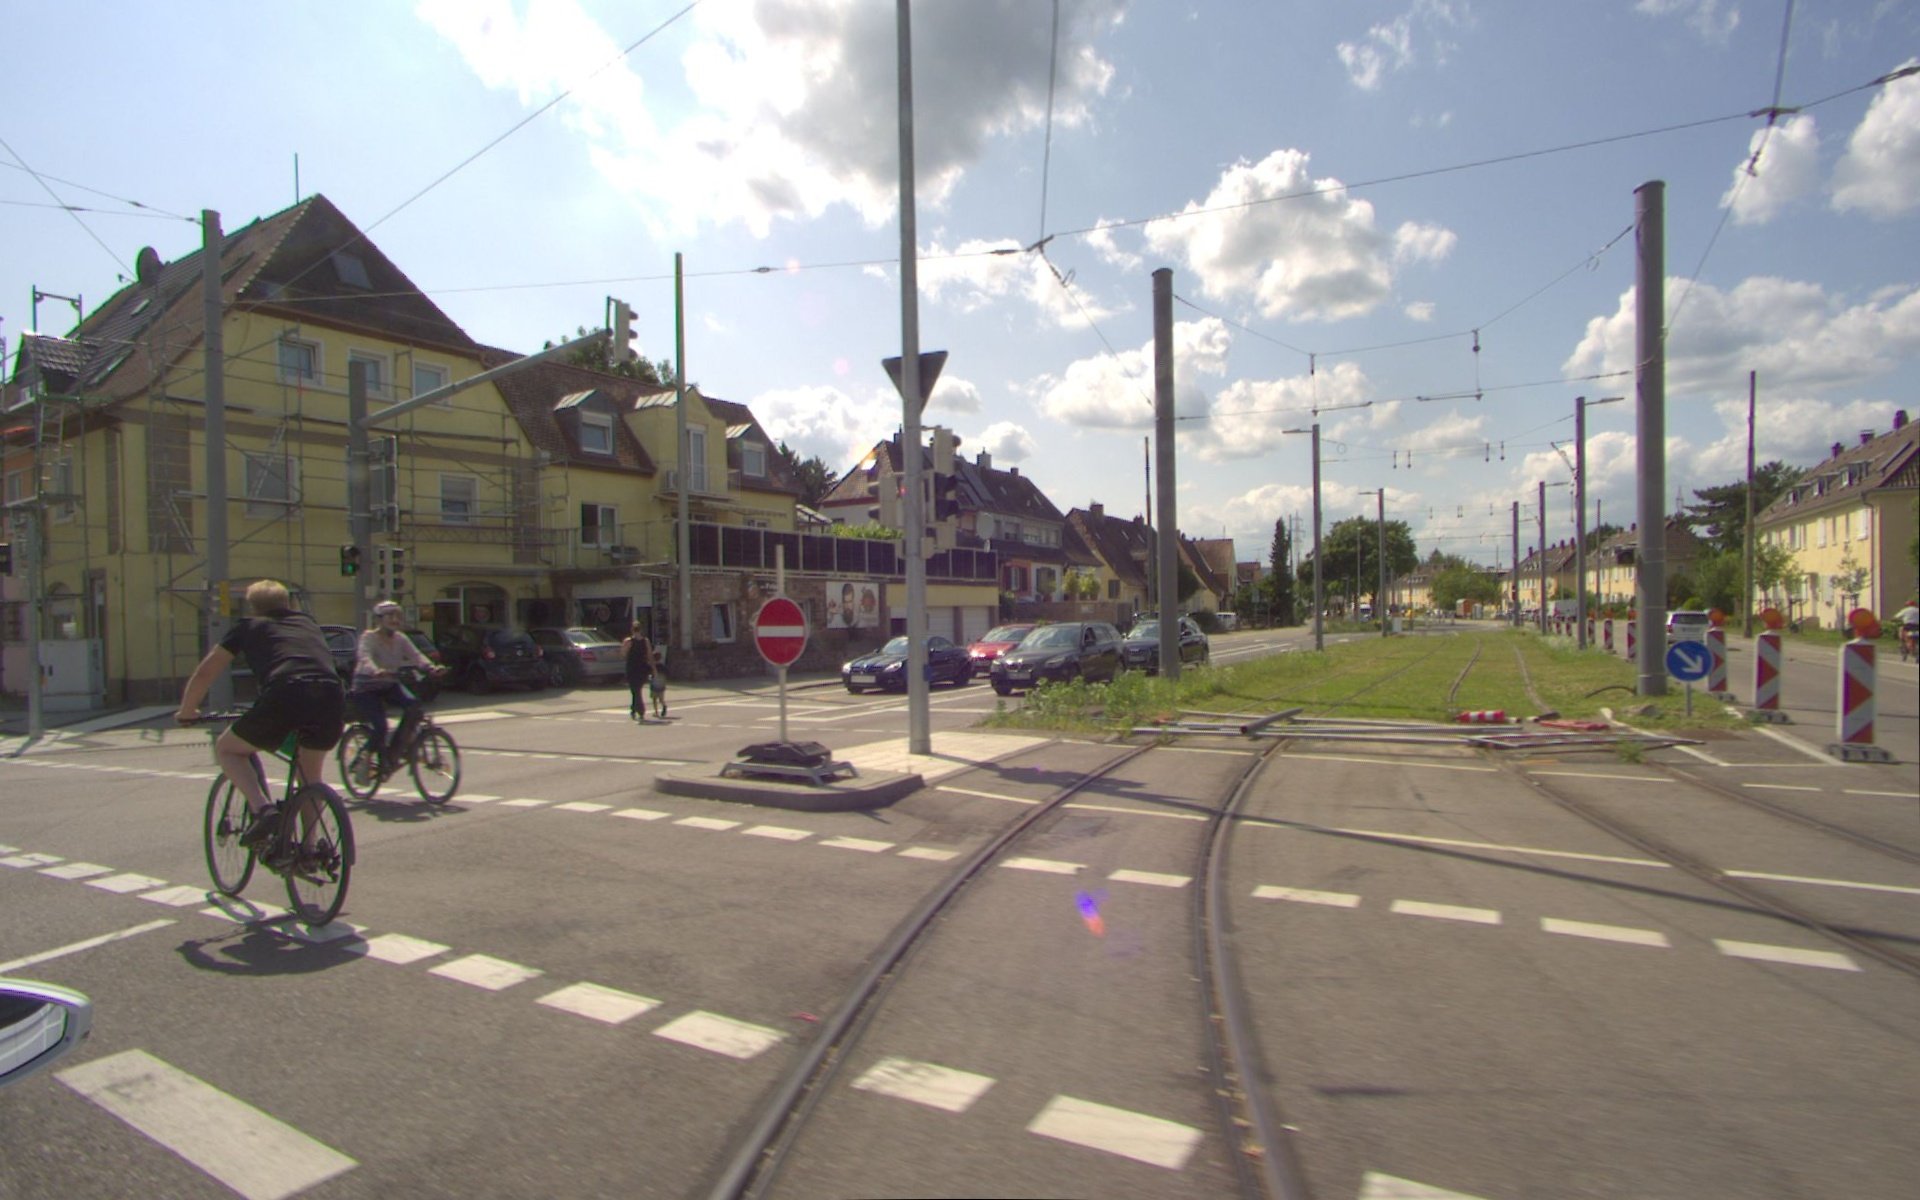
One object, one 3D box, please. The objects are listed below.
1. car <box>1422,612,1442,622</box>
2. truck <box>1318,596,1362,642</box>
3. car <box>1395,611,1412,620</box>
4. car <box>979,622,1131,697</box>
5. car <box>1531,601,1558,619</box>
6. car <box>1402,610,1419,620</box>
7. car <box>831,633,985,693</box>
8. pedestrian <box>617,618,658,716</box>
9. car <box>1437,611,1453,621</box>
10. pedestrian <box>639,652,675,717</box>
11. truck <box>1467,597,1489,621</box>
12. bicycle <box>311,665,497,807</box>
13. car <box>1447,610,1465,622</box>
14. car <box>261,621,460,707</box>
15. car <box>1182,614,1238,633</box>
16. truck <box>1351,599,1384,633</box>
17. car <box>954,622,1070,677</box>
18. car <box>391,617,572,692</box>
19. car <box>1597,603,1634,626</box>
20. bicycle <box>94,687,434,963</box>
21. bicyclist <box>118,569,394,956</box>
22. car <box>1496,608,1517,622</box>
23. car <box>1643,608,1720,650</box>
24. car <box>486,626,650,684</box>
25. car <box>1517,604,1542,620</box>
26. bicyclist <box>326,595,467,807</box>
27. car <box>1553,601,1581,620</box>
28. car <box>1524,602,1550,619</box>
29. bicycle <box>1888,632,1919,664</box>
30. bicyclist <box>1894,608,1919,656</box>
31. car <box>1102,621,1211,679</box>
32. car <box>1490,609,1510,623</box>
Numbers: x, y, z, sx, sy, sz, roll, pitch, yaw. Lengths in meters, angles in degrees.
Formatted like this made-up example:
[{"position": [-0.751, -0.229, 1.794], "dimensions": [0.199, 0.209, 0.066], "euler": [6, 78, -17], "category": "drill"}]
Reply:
[{"position": [84.765, 3.099, 179.876], "dimensions": [1.961, 1.746, 4.002], "euler": [-1, -2, 7], "category": "car"}, {"position": [33.726, 1.768, 88.690], "dimensions": [2.473, 3.874, 7.613], "euler": [-2, -2, 29], "category": "truck"}, {"position": [88.611, 3.074, 200.108], "dimensions": [1.962, 1.746, 4.001], "euler": [-1, -2, 8], "category": "car"}, {"position": [2.197, 1.230, 21.988], "dimensions": [1.713, 1.346, 4.310], "euler": [-2, 0, 29], "category": "car"}, {"position": [62.822, 1.065, 107.643], "dimensions": [1.967, 1.746, 3.991], "euler": [-1, -2, 23], "category": "car"}, {"position": [88.157, 2.961, 195.891], "dimensions": [1.962, 1.746, 4.001], "euler": [-1, -2, 8], "category": "car"}, {"position": [-1.155, 1.483, 24.347], "dimensions": [1.713, 1.325, 4.312], "euler": [-2, -3, 29], "category": "car"}, {"position": [-5.614, 1.155, 17.428], "dimensions": [0.396, 1.664, 0.545], "euler": [-2, -2, 37], "category": "pedestrian"}, {"position": [83.319, 2.768, 172.136], "dimensions": [1.965, 1.746, 3.995], "euler": [-1, -2, 19], "category": "car"}, {"position": [-5.464, 1.515, 18.057], "dimensions": [0.383, 1.150, 0.487], "euler": [-2, -2, 32], "category": "pedestrian"}, {"position": [77.087, 1.364, 149.035], "dimensions": [1.964, 3.266, 5.331], "euler": [-1, -2, 17], "category": "truck"}, {"position": [-4.885, 1.150, 8.795], "dimensions": [1.562, 1.131, 0.650], "euler": [-2, -2, 26], "category": "bicycle"}, {"position": [78.040, 2.587, 157.544], "dimensions": [1.965, 1.746, 3.995], "euler": [-1, -2, 19], "category": "car"}, {"position": [-12.542, 1.312, 20.901], "dimensions": [4.073, 1.616, 1.990], "euler": [-2, -3, 33], "category": "car"}, {"position": [20.931, 1.950, 83.830], "dimensions": [4.258, 1.492, 1.948], "euler": [-2, -2, 24], "category": "car"}, {"position": [45.239, 1.823, 111.147], "dimensions": [2.344, 3.582, 8.499], "euler": [-2, -3, 29], "category": "truck"}, {"position": [1.616, 1.447, 29.629], "dimensions": [1.713, 1.492, 4.312], "euler": [-2, -3, 29], "category": "car"}, {"position": [-11.204, 1.266, 23.395], "dimensions": [4.073, 1.616, 1.990], "euler": [-2, -3, 33], "category": "car"}, {"position": [54.620, 1.247, 83.525], "dimensions": [1.968, 1.746, 3.988], "euler": [-2, -3, 25], "category": "car"}, {"position": [-3.759, 1.084, 5.361], "dimensions": [1.944, 1.090, 0.826], "euler": [-1, 1, 34], "category": "bicycle"}, {"position": [-3.737, 0.763, 5.330], "dimensions": [1.069, 1.818, 0.826], "euler": [0, 2, 34], "category": "bicyclist"}, {"position": [71.152, 1.970, 130.412], "dimensions": [1.966, 1.746, 3.992], "euler": [-1, -2, 22], "category": "car"}, {"position": [27.299, 1.056, 37.994], "dimensions": [1.708, 1.422, 4.001], "euler": [3, 1, 27], "category": "car"}, {"position": [-10.012, 1.397, 25.497], "dimensions": [4.073, 1.368, 1.864], "euler": [-2, -3, 33], "category": "car"}, {"position": [67.268, 1.483, 118.310], "dimensions": [1.967, 1.746, 3.991], "euler": [-1, -2, 23], "category": "car"}, {"position": [-4.965, 0.866, 8.842], "dimensions": [0.968, 1.759, 0.650], "euler": [-1, -2, 26], "category": "bicyclist"}, {"position": [60.092, 1.059, 99.206], "dimensions": [1.968, 1.746, 3.988], "euler": [-2, -3, 25], "category": "car"}, {"position": [64.508, 1.239, 112.039], "dimensions": [1.967, 1.746, 3.991], "euler": [-1, -2, 23], "category": "car"}, {"position": [25.187, 1.268, 26.498], "dimensions": [0.497, 0.791, 1.578], "euler": [-1, -1, 27], "category": "bicycle"}, {"position": [25.196, 0.839, 26.532], "dimensions": [0.501, 1.250, 0.576], "euler": [-1, 0, 28], "category": "bicyclist"}, {"position": [5.550, 1.343, 27.863], "dimensions": [1.713, 1.346, 4.310], "euler": [-2, 0, 29], "category": "car"}, {"position": [73.409, 2.195, 136.112], "dimensions": [1.967, 1.746, 3.991], "euler": [-1, -2, 23], "category": "car"}]
